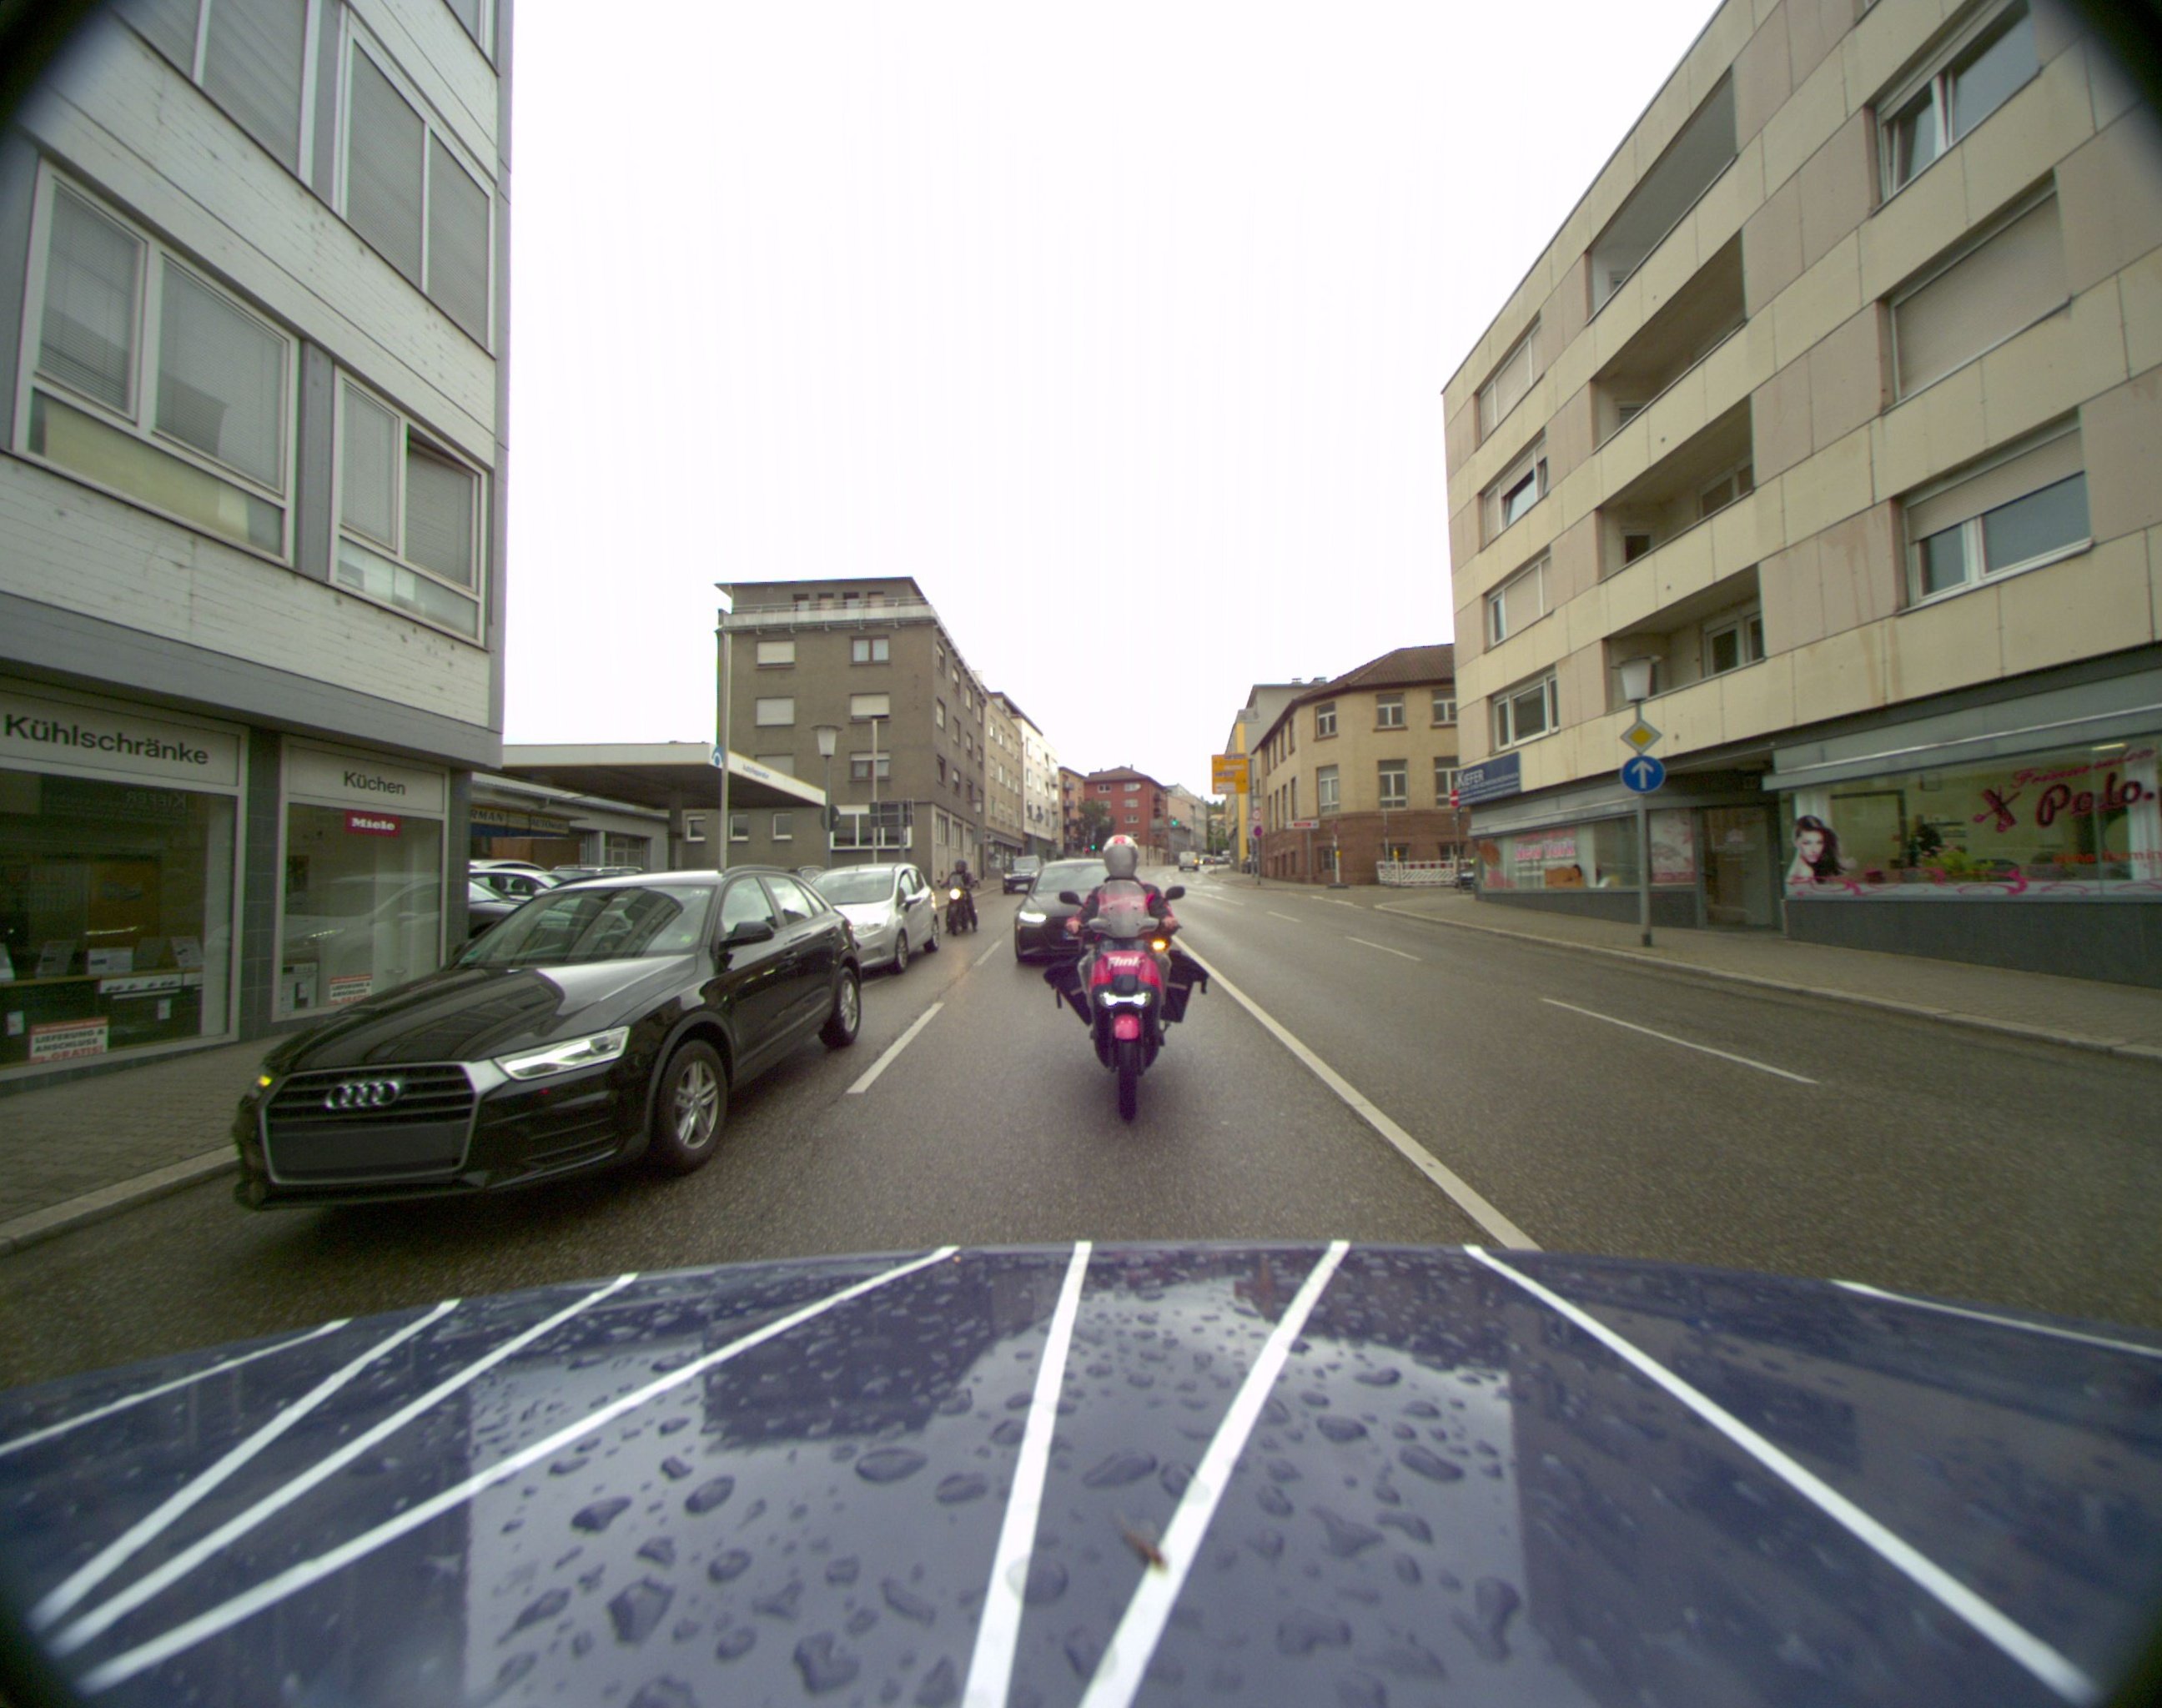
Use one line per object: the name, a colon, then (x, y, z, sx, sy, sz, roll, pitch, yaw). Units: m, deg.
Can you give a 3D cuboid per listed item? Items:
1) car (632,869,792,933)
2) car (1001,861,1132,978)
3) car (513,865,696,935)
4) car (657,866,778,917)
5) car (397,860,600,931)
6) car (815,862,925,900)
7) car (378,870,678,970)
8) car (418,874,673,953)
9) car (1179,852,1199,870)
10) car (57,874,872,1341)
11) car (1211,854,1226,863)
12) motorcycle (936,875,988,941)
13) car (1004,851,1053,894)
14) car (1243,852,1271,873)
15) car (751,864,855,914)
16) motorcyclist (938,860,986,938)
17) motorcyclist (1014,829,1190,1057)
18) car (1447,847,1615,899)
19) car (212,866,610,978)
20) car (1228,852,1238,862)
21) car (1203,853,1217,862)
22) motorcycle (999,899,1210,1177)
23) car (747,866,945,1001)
car: (-9.590, 1.156, 20.252, 1.792, 1.407, 4.616, 0, 0, 3)
car: (-0.088, 0.901, 12.406, 1.705, 1.451, 4.319, -3, 0, 3)
car: (-12.178, 1.112, 19.848, 1.793, 1.535, 4.493, 3, -1, 2)
car: (-12.084, 1.212, 25.606, 1.793, 1.502, 4.420, 3, -1, 2)
car: (-14.971, 0.991, 19.902, 1.793, 1.591, 4.419, -1, 0, 2)
car: (-9.936, 1.244, 35.948, 4.531, 1.495, 2.001, -3, 0, 5)
car: (-9.769, 1.112, 13.800, 4.002, 1.521, 1.761, -1, 0, -15)
car: (-11.036, 1.188, 15.969, 4.002, 1.393, 1.669, -1, 0, -14)
car: (10.786, 0.678, 75.403, 1.865, 1.793, 4.269, 0, 0, 9)
car: (-2.901, 1.014, 4.974, 1.828, 1.551, 4.201, -4, 0, 0)
car: (20.990, 0.681, 116.180, 1.861, 1.445, 4.320, -1, 0, 6)
motorcycle: (-2.567, 1.133, 16.620, 0.847, 1.219, 2.372, -4, 0, -4)
car: (-2.438, 0.834, 35.843, 1.848, 1.892, 3.765, -1, 0, 2)
car: (13.492, 0.609, 58.400, 1.861, 1.445, 3.966, -4, -1, 10)
car: (-9.369, 1.125, 25.999, 1.793, 1.503, 4.437, -1, 0, 2)
motorcyclist: (-2.568, 0.953, 16.526, 0.847, 1.580, 0.962, -4, 1, -4)
motorcyclist: (0.151, 0.558, 5.159, 1.010, 1.373, 0.835, -4, 0, 3)
car: (14.642, 0.603, 24.938, 4.358, 1.495, 1.755, -2, 0, 11)
car: (-9.584, 0.977, 11.290, 4.003, 1.441, 1.796, 2, -1, -16)
car: (28.934, 0.616, 144.512, 1.847, 1.892, 3.768, -1, 0, 11)
car: (21.020, 0.590, 123.586, 1.860, 1.445, 4.323, 0, 0, 14)
motorcycle: (0.184, 1.029, 5.249, 1.010, 1.218, 2.694, -4, 0, 3)
car: (-3.379, 1.046, 11.860, 1.831, 1.532, 4.251, -4, 0, -3)
